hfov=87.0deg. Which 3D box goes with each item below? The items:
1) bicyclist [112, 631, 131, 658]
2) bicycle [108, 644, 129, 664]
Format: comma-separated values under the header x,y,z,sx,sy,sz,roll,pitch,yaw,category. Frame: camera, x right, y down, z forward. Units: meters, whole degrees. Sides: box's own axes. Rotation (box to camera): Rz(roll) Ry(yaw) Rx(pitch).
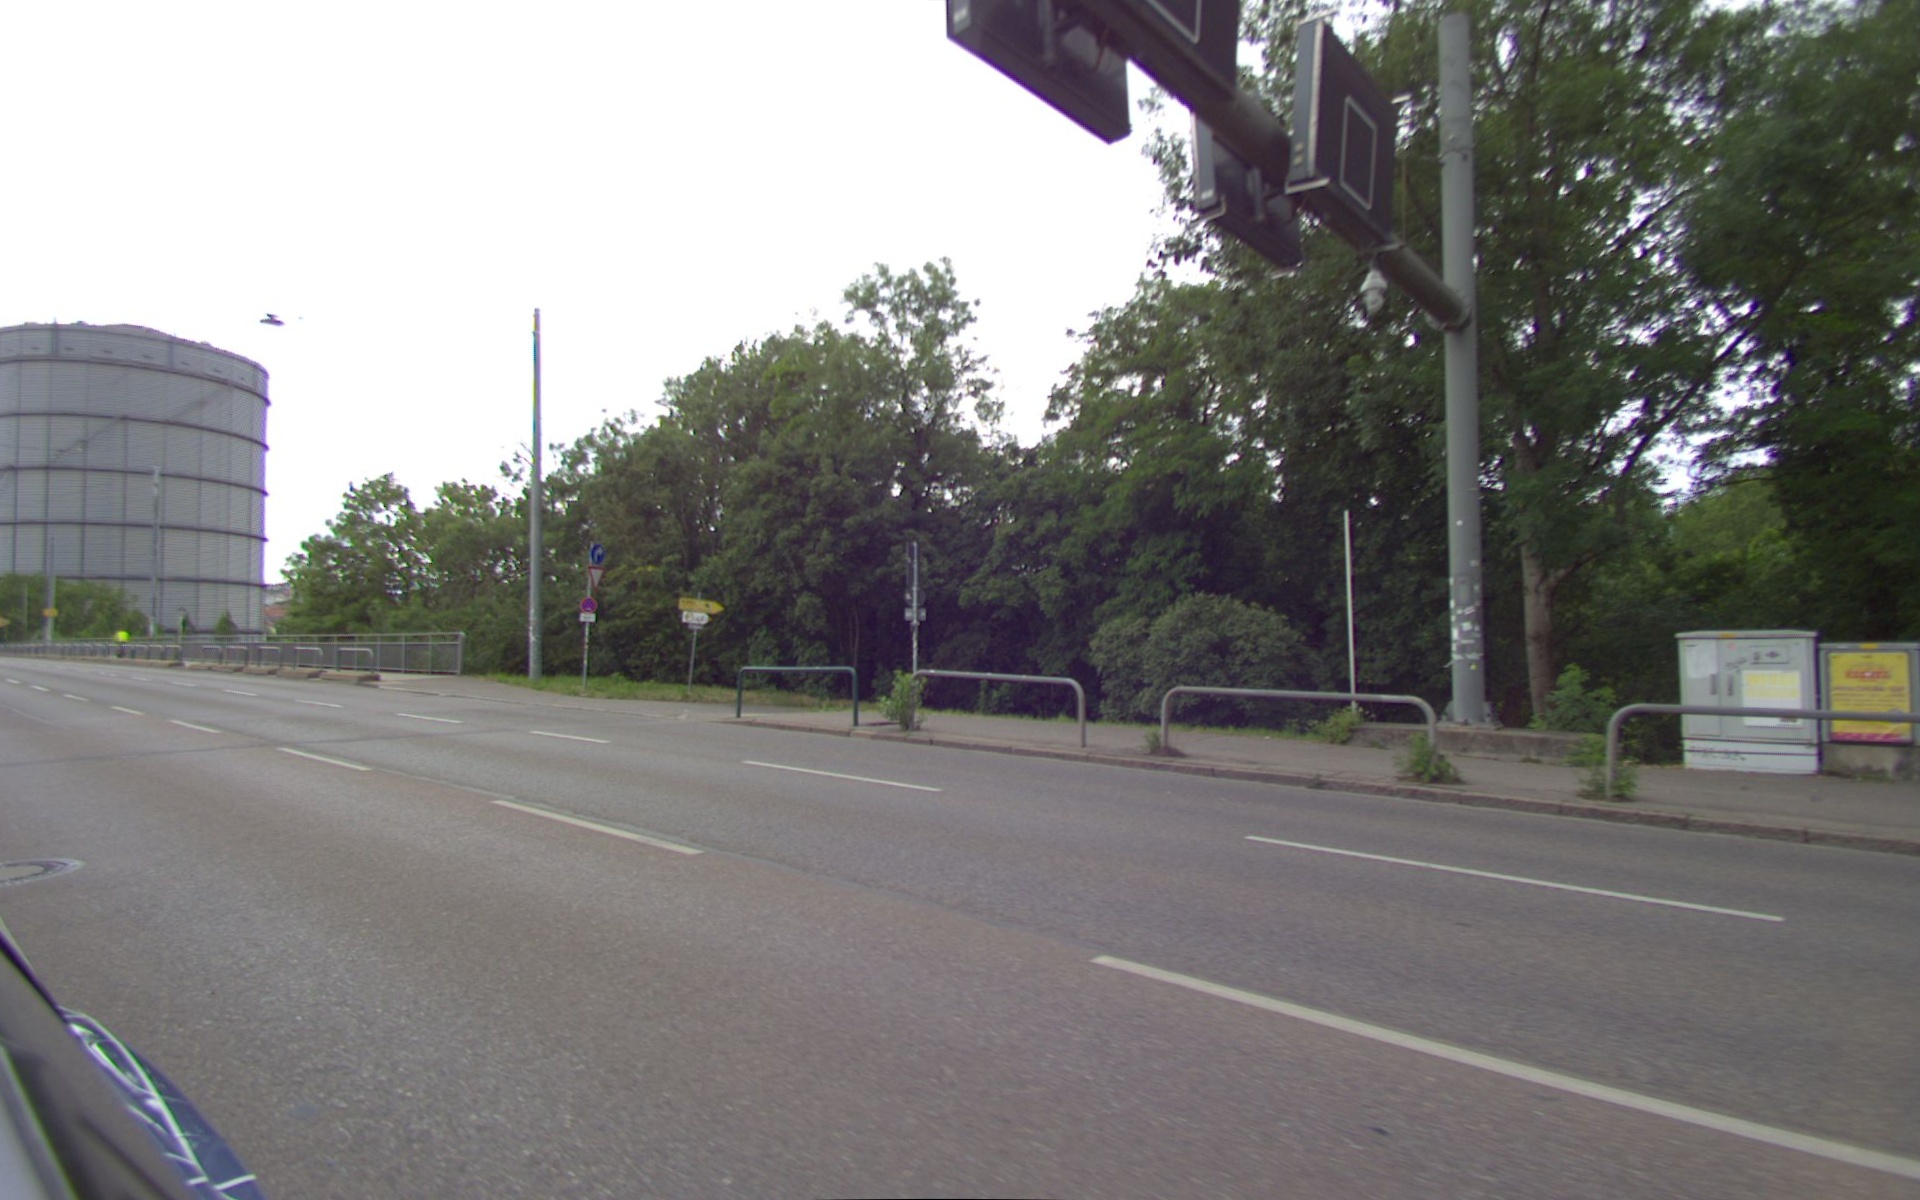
x,y,z,sx,sy,sz,roll,pitch,yaw,category
-49.082,2.608,59.239,0.670,1.486,0.619,-3,4,43,bicyclist
-49.177,3.150,59.142,1.983,1.071,0.628,-2,4,44,bicycle
